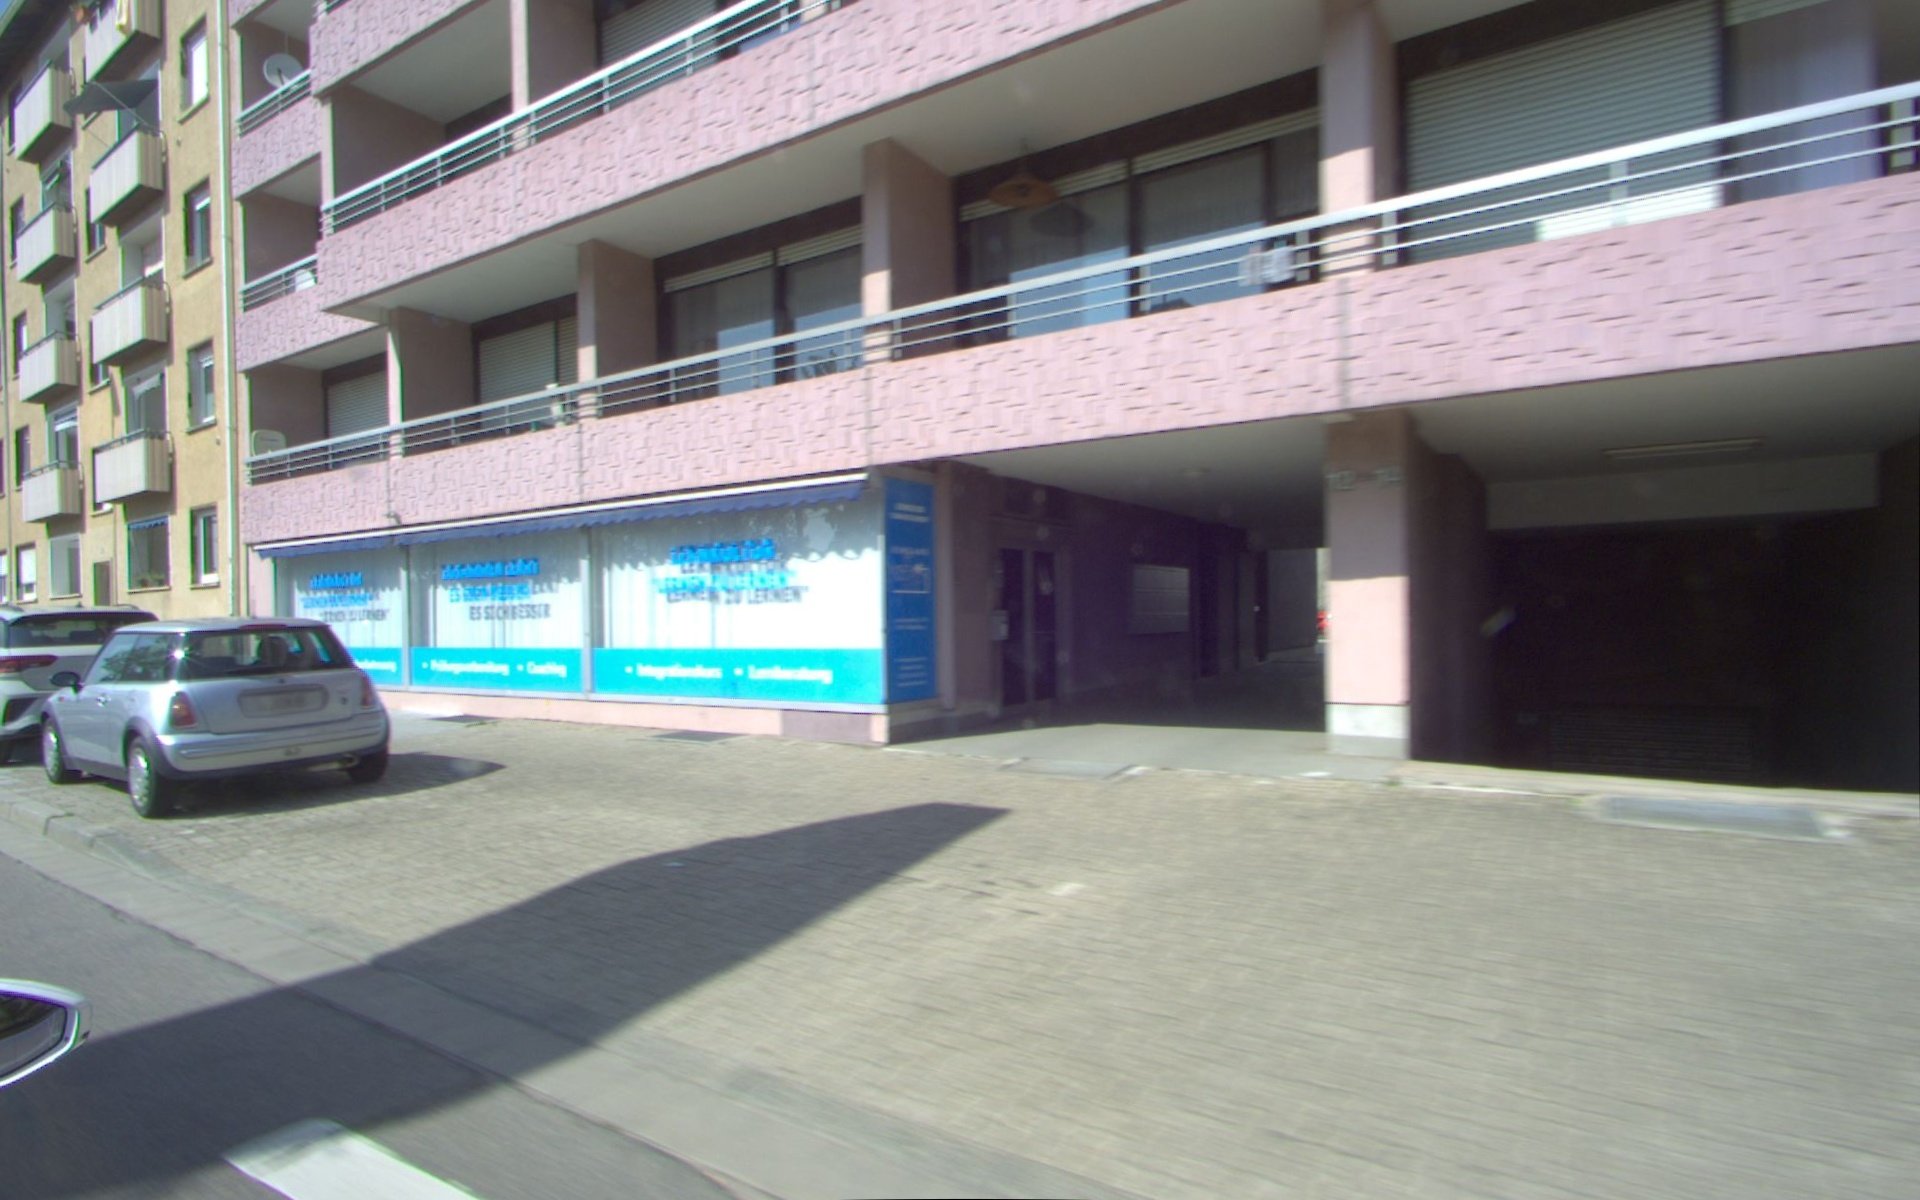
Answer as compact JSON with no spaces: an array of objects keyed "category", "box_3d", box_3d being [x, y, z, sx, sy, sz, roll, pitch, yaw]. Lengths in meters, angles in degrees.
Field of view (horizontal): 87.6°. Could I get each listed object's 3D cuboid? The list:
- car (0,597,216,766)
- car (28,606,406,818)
[{"category":"car","box_3d":[-10.190,0.790,11.238,4.296,1.561,1.730,-1,0,36]},{"category":"car","box_3d":[-6.482,0.803,8.656,3.386,1.428,1.672,-1,1,36]}]
